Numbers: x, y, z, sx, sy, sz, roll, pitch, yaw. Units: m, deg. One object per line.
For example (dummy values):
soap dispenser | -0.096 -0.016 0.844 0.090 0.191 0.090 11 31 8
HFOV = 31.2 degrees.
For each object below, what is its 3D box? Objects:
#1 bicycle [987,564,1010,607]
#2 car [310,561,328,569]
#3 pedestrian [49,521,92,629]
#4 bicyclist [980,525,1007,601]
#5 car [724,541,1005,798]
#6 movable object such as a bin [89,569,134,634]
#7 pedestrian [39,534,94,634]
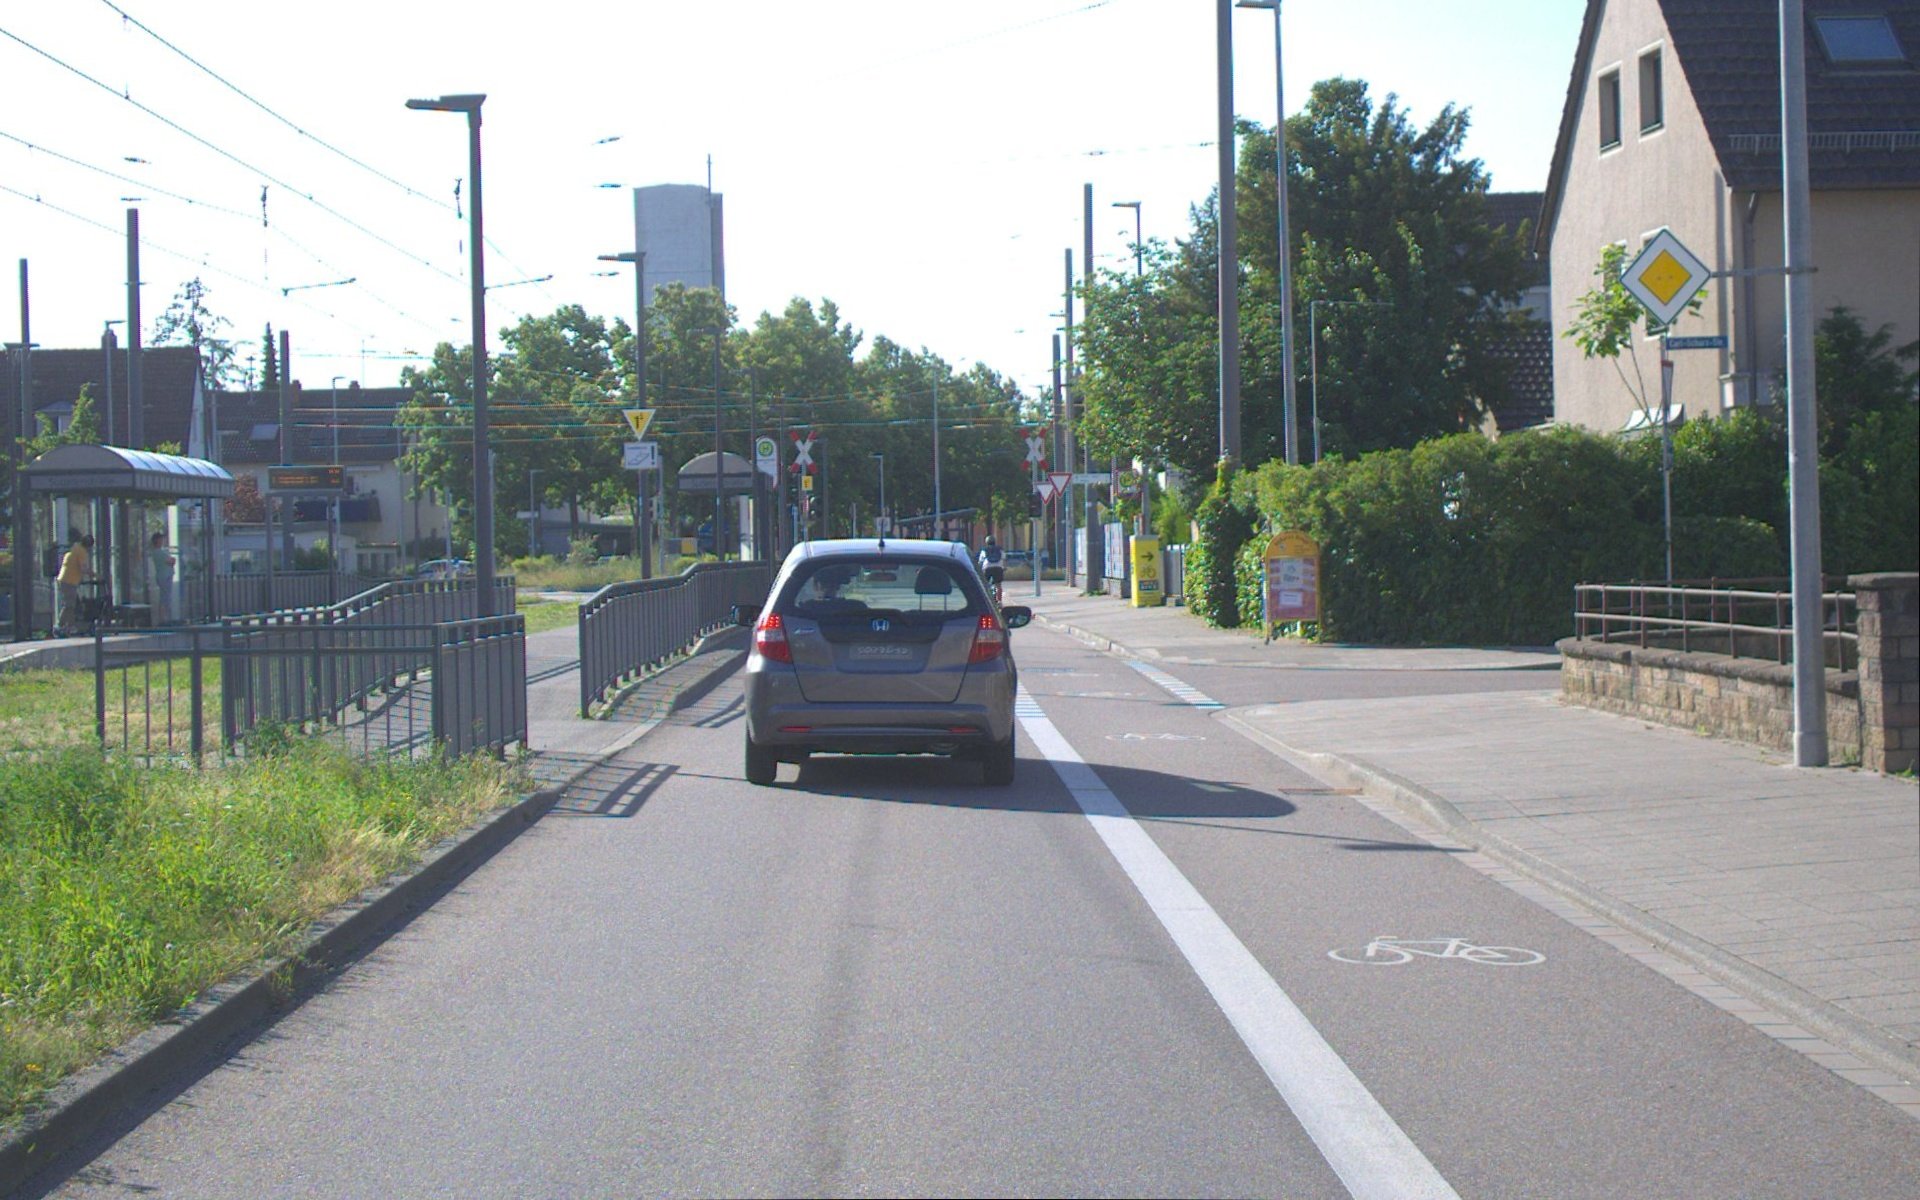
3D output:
bicycle | 0.849 -0.330 76.755 0.475 0.958 1.657 0 0 0
car | -26.989 -1.458 144.769 0.699 0.335 0.329 0 0 4
pedestrian | -14.198 -0.403 54.881 0.519 1.702 0.581 -2 1 -5
bicyclist | 0.743 -0.823 76.575 0.598 1.695 0.683 0 0 0
car | -0.617 0.391 22.234 1.670 1.530 3.487 0 1 -2
movable object such as a bin | -13.193 0.014 53.453 0.546 0.984 0.741 -2 1 -5
pedestrian | -13.863 -0.252 53.352 0.675 1.530 0.749 -2 1 -5
